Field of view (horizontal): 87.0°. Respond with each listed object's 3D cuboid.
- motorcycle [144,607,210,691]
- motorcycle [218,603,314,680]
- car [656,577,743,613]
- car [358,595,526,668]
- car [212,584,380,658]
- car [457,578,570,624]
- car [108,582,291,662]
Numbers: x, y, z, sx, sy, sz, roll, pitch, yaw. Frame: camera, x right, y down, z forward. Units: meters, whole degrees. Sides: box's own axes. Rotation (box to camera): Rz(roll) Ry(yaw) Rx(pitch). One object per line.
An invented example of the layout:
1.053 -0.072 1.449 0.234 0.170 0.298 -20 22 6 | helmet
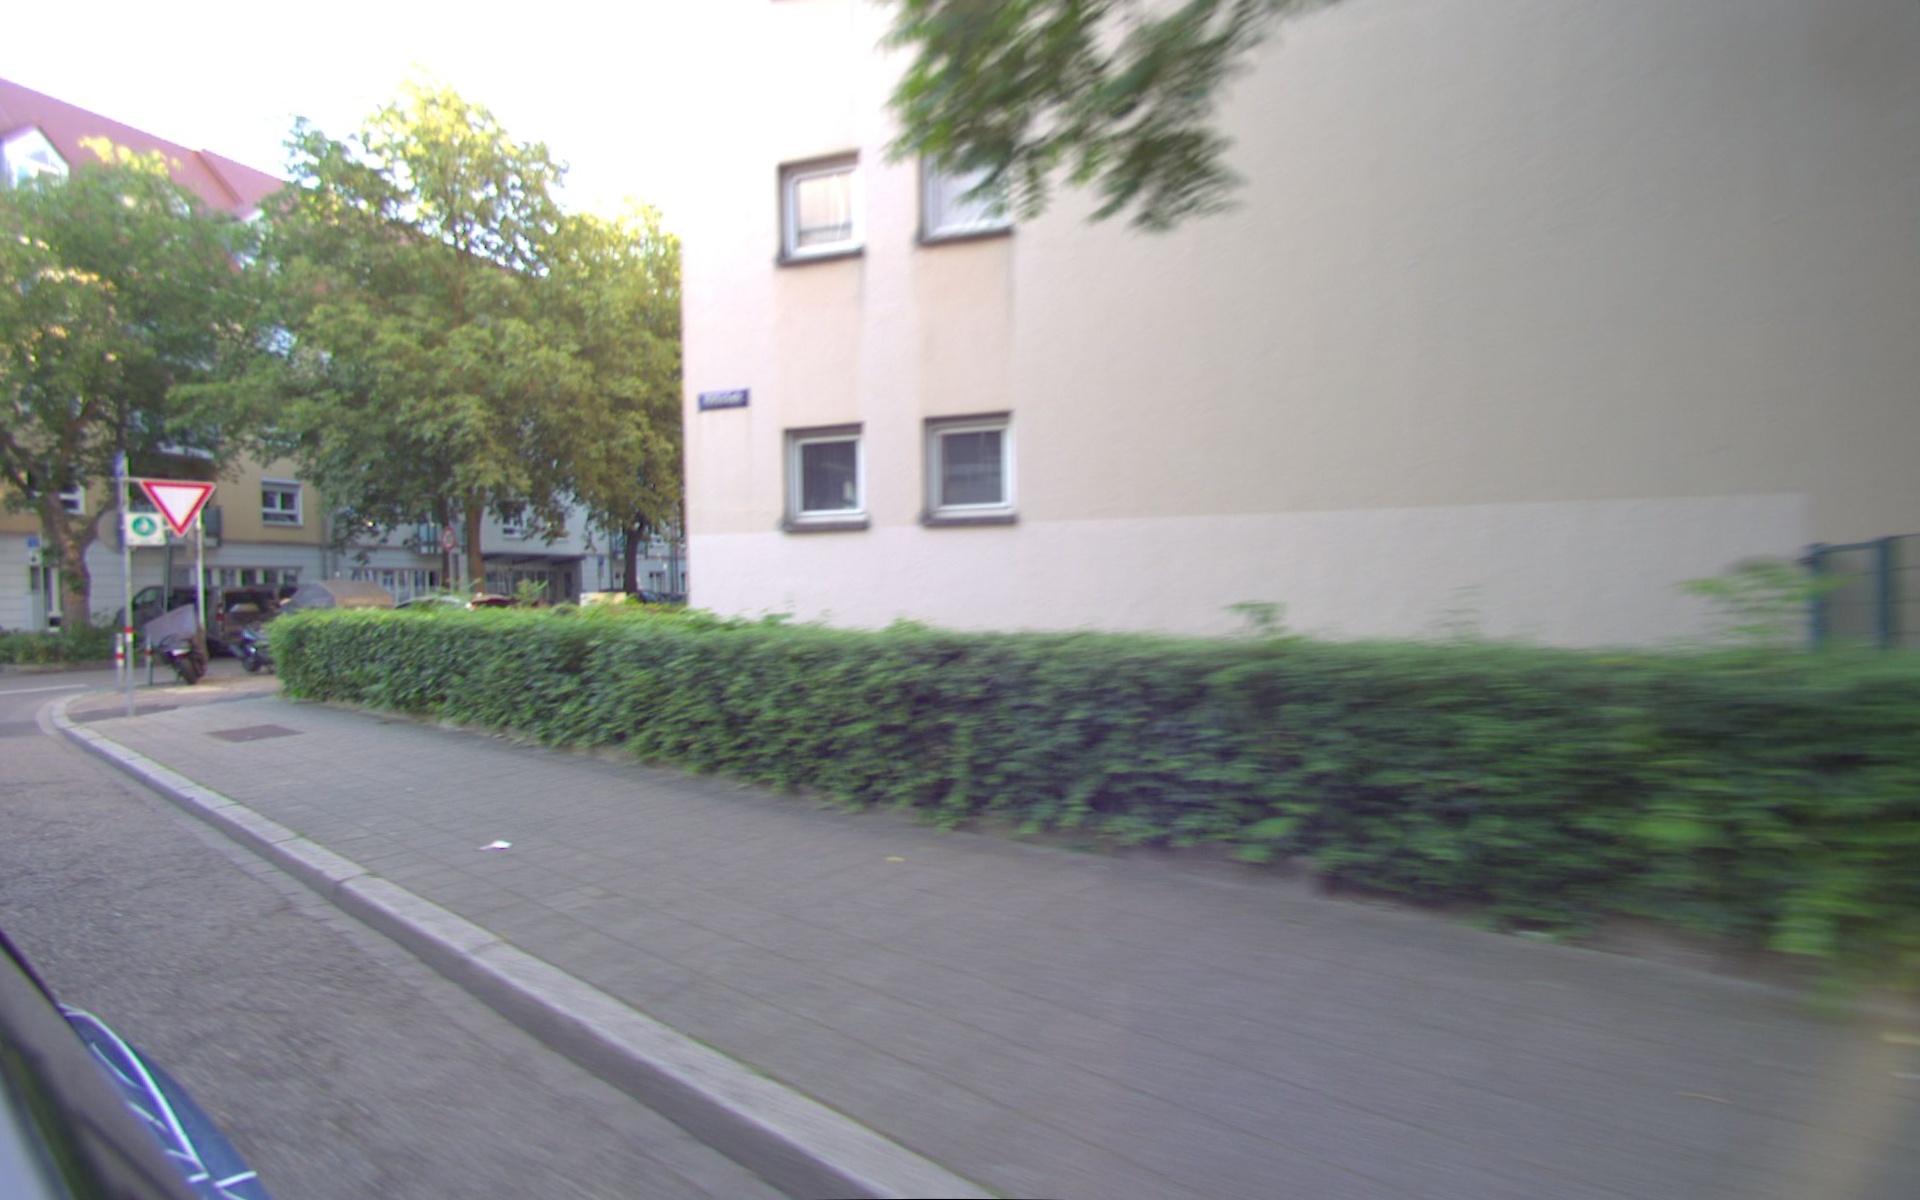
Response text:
-13.706 0.812 17.709 0.846 1.363 1.963 -1 0 -39 | motorcycle
-13.310 0.782 19.394 1.959 1.417 0.567 -1 0 24 | motorcycle
-13.421 -0.279 52.121 3.973 1.741 1.986 1 1 22 | car
-11.736 0.690 22.928 3.481 1.518 1.619 -1 1 26 | car
-20.438 0.593 31.174 4.297 2.092 2.214 1 0 20 | car
-17.984 0.003 40.807 3.973 1.741 1.986 1 1 22 | car
-21.702 0.576 28.902 4.297 2.092 2.214 1 0 20 | car
